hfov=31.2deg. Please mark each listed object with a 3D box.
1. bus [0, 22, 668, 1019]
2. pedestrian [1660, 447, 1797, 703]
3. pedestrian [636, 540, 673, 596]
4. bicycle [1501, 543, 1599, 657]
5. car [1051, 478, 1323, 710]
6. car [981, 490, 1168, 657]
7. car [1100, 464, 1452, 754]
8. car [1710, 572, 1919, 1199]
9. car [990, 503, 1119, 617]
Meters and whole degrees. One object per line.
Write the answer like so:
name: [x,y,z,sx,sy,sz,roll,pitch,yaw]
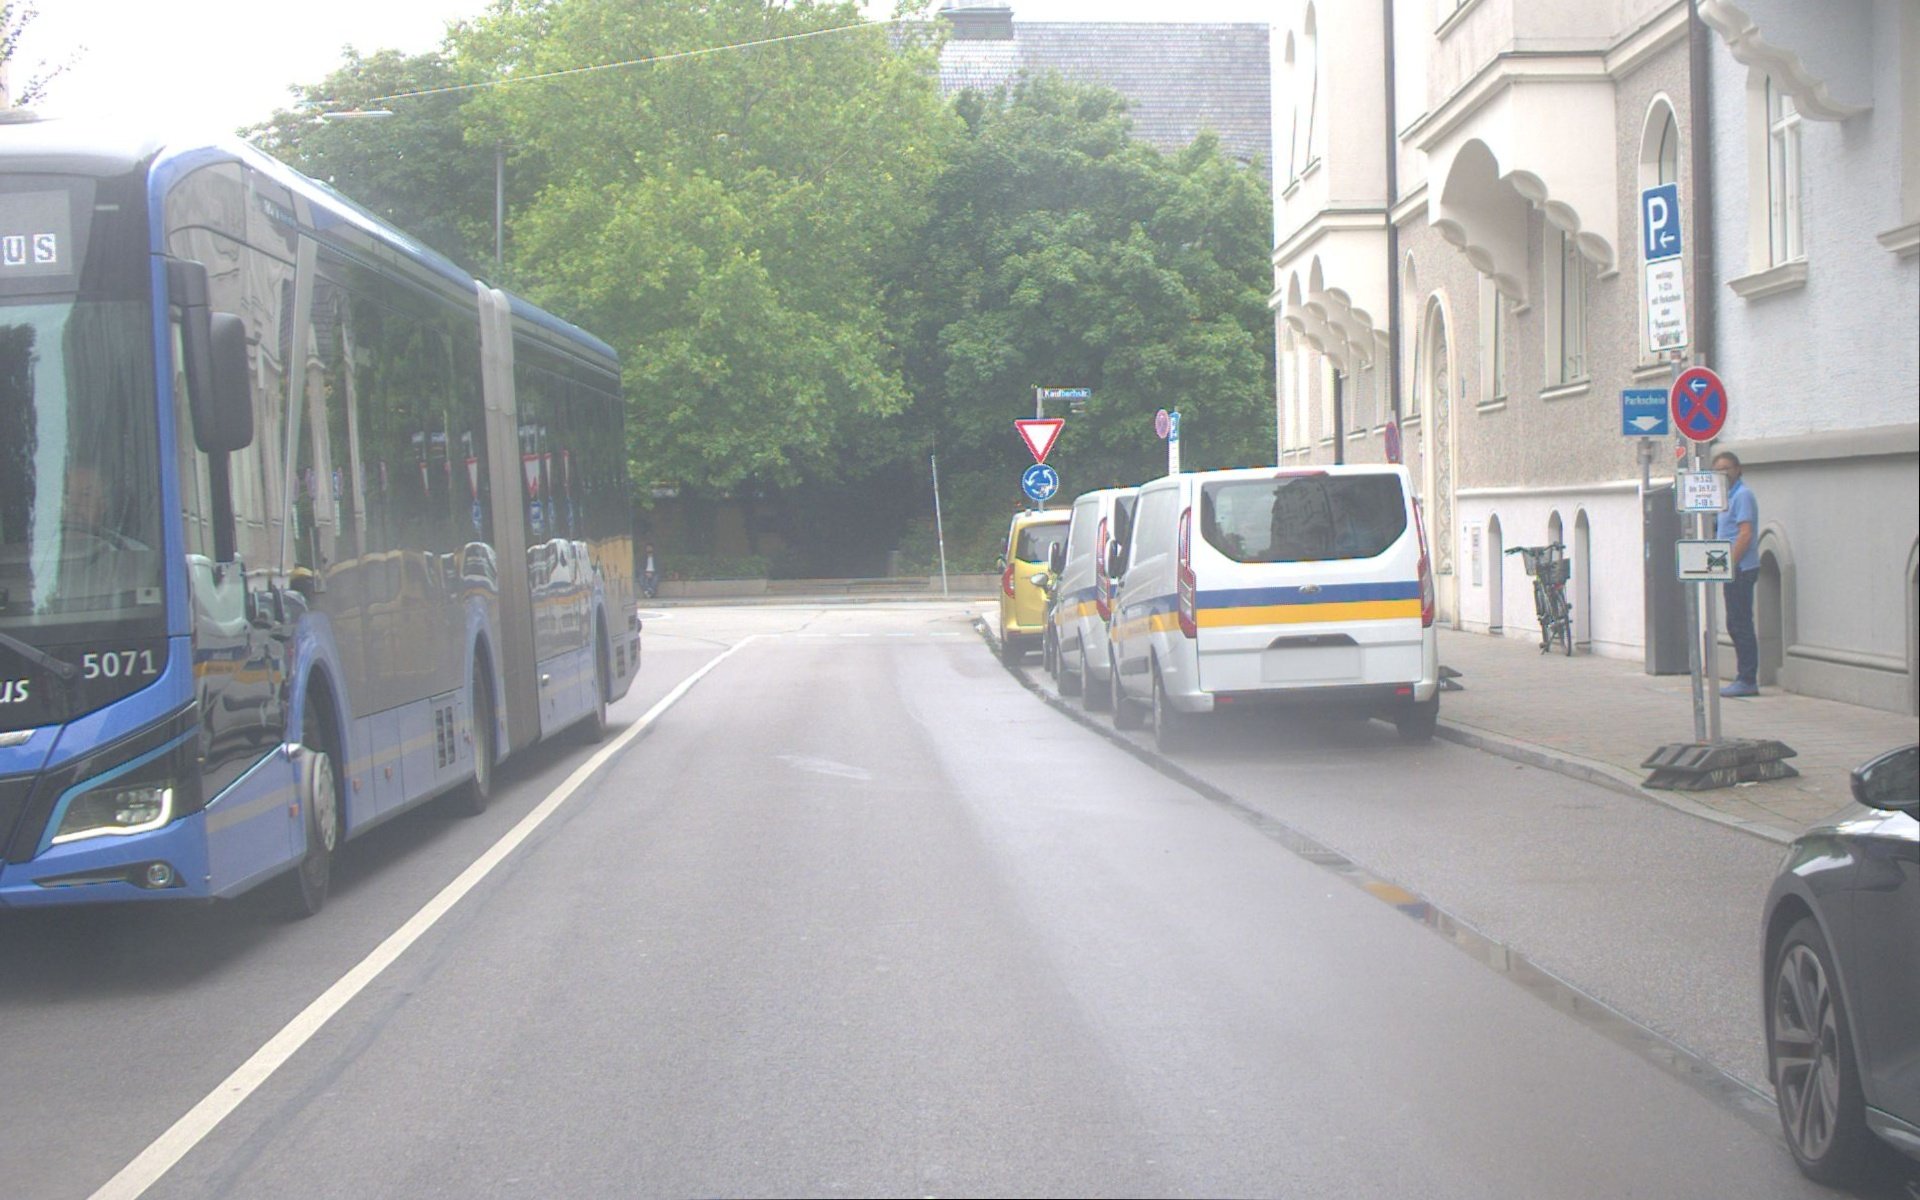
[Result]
bus: [-4.128,-0.368,20.173,3.171,3.201,18.059,-3,1,0]
pedestrian: [5.815,-0.192,26.036,0.852,1.896,0.746,-1,1,2]
pedestrian: [-7.456,-0.784,83.856,0.769,1.352,1.131,-1,1,0]
bicycle: [6.046,-0.014,35.282,0.666,1.129,1.722,-1,1,-1]
car: [1.983,-0.096,31.509,1.993,1.911,4.887,-1,1,-2]
car: [1.360,-0.358,42.691,1.993,1.911,4.571,-1,1,-2]
car: [2.231,0.015,25.617,1.993,1.911,4.879,-1,1,-2]
car: [2.869,0.661,6.611,1.788,1.403,4.245,-1,1,-2]
car: [1.665,-0.752,62.330,1.938,1.915,5.375,-2,1,-2]
